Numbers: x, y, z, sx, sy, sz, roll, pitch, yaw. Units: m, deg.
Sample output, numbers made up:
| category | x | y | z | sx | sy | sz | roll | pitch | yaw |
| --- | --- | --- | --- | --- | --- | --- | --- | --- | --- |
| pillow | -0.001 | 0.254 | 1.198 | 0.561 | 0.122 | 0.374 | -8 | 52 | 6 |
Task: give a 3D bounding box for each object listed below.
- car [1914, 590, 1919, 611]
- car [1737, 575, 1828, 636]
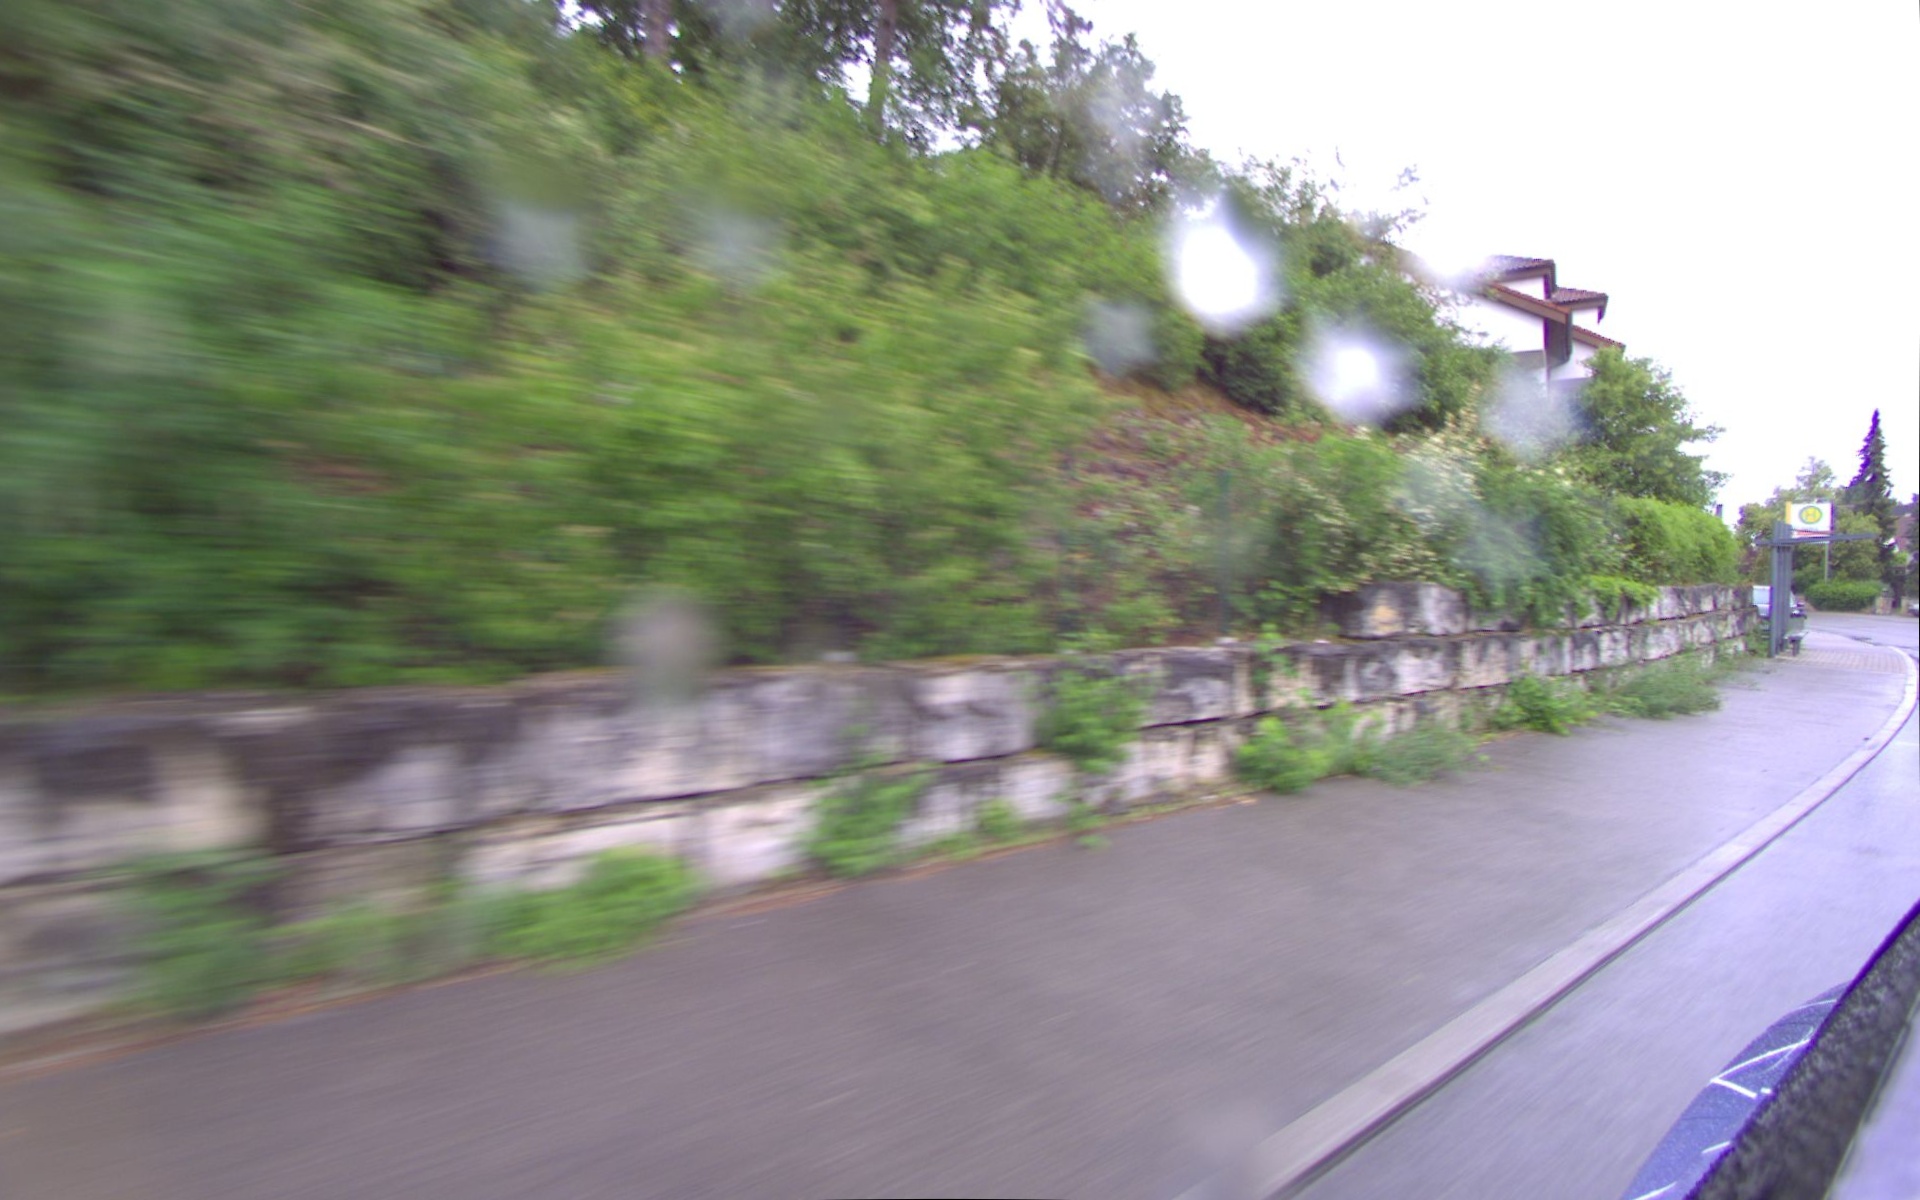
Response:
| category | x | y | z | sx | sy | sz | roll | pitch | yaw |
| --- | --- | --- | --- | --- | --- | --- | --- | --- | --- |
| car | 60.842 | 0.049 | 61.398 | 3.971 | 1.287 | 1.852 | 0 | 1 | 33 |
| car | 22.447 | 0.107 | 27.740 | 1.702 | 1.471 | 3.967 | 5 | 3 | 37 |
